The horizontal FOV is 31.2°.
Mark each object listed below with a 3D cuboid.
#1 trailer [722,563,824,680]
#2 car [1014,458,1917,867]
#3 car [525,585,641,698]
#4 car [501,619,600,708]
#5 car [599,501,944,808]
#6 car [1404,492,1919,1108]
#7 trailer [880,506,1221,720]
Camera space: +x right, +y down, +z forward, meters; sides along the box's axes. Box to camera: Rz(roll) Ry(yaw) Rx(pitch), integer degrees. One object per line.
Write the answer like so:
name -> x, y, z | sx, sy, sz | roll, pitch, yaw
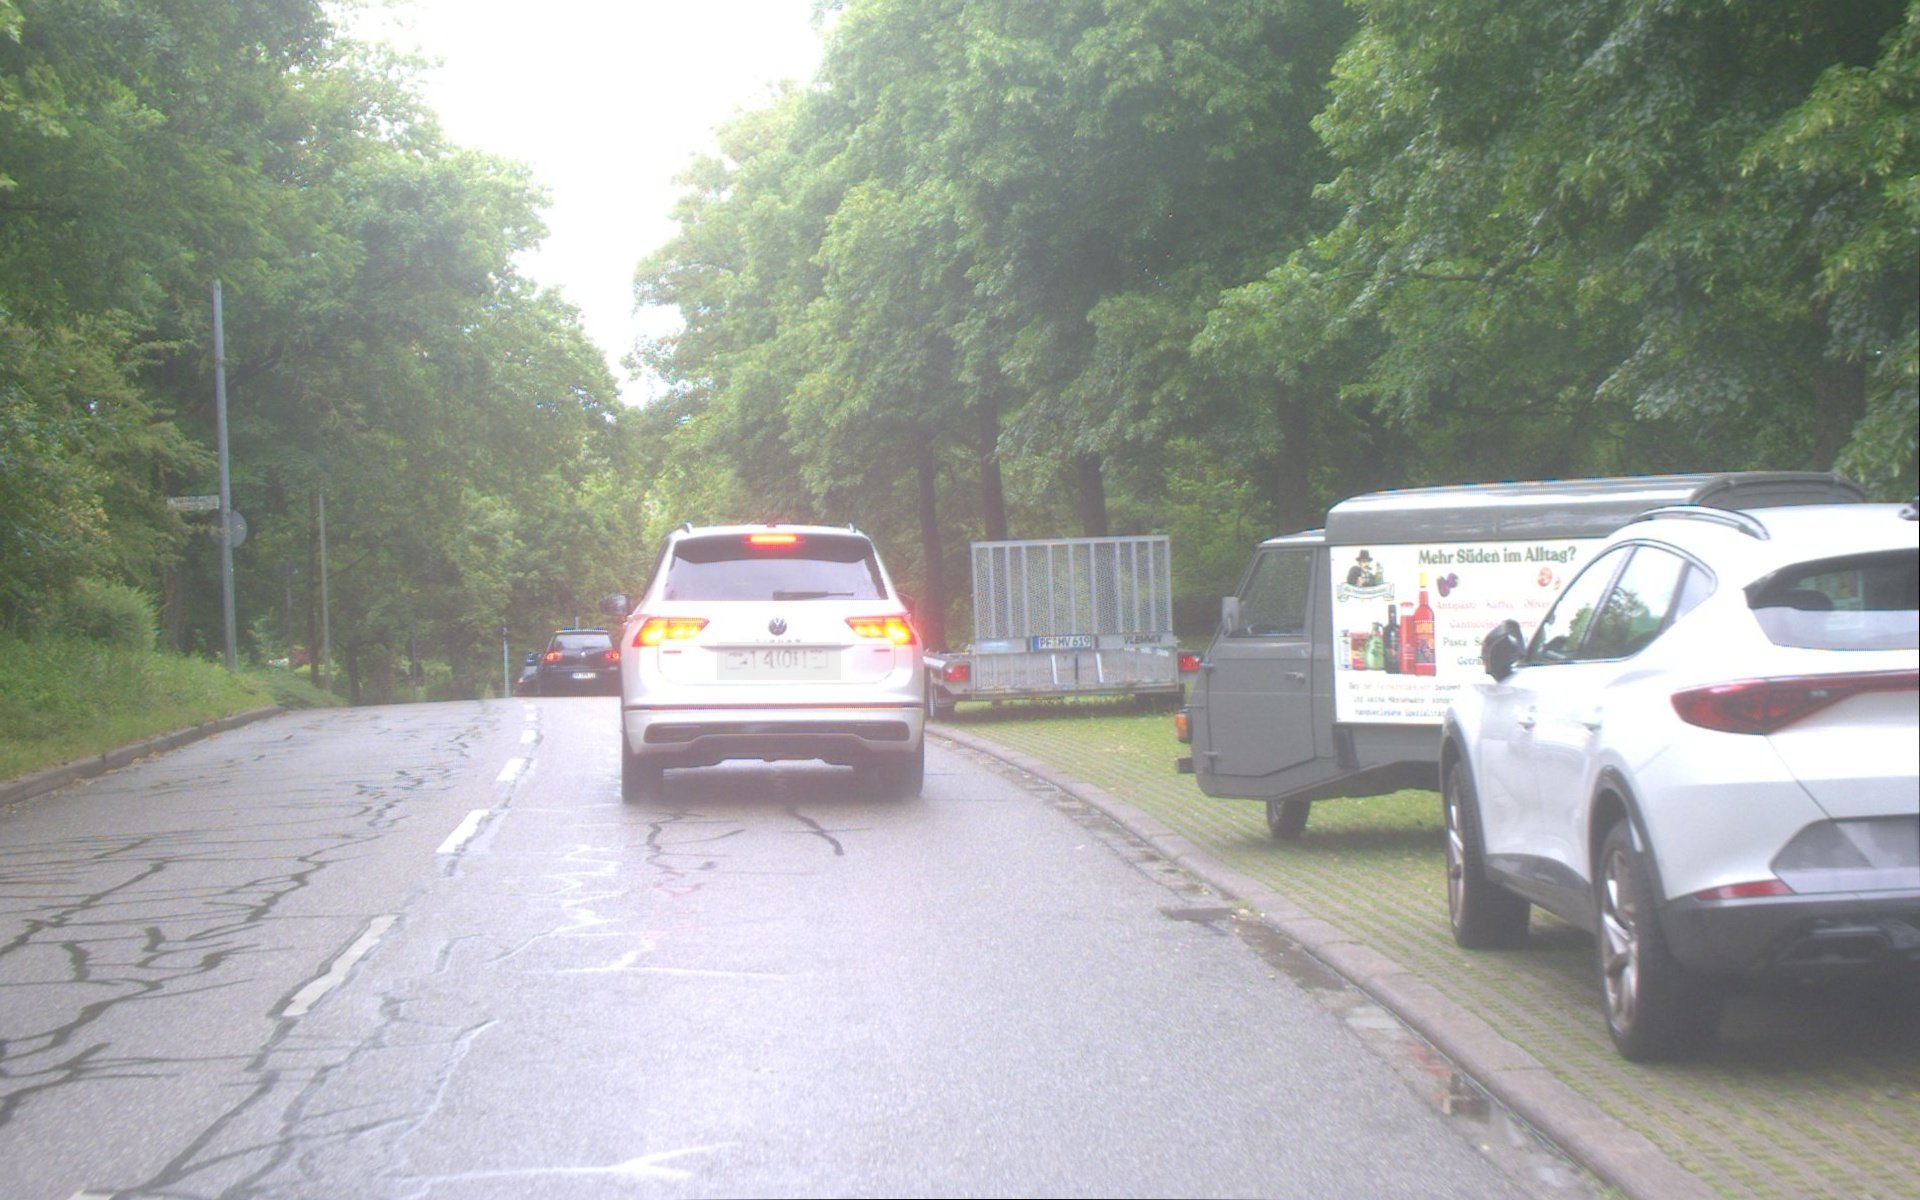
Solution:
trailer -> -3.585, 0.438, 65.378 | 1.529, 2.068, 4.000 | -3, -1, -8
car -> 2.270, 0.295, 16.231 | 1.607, 1.675, 4.004 | -3, 0, -44
car -> -7.756, 0.818, 70.442 | 1.993, 2.006, 4.002 | -2, 3, -11
car -> -10.696, 1.635, 89.681 | 1.993, 2.006, 4.002 | -2, 3, -14
car -> -1.278, 0.295, 21.822 | 1.905, 1.679, 4.201 | -2, 1, -5
car -> 2.756, 0.430, 10.901 | 1.993, 1.492, 4.567 | -2, 2, -1
trailer -> 0.742, 0.139, 33.600 | 2.449, 1.806, 5.893 | -2, 0, -7
